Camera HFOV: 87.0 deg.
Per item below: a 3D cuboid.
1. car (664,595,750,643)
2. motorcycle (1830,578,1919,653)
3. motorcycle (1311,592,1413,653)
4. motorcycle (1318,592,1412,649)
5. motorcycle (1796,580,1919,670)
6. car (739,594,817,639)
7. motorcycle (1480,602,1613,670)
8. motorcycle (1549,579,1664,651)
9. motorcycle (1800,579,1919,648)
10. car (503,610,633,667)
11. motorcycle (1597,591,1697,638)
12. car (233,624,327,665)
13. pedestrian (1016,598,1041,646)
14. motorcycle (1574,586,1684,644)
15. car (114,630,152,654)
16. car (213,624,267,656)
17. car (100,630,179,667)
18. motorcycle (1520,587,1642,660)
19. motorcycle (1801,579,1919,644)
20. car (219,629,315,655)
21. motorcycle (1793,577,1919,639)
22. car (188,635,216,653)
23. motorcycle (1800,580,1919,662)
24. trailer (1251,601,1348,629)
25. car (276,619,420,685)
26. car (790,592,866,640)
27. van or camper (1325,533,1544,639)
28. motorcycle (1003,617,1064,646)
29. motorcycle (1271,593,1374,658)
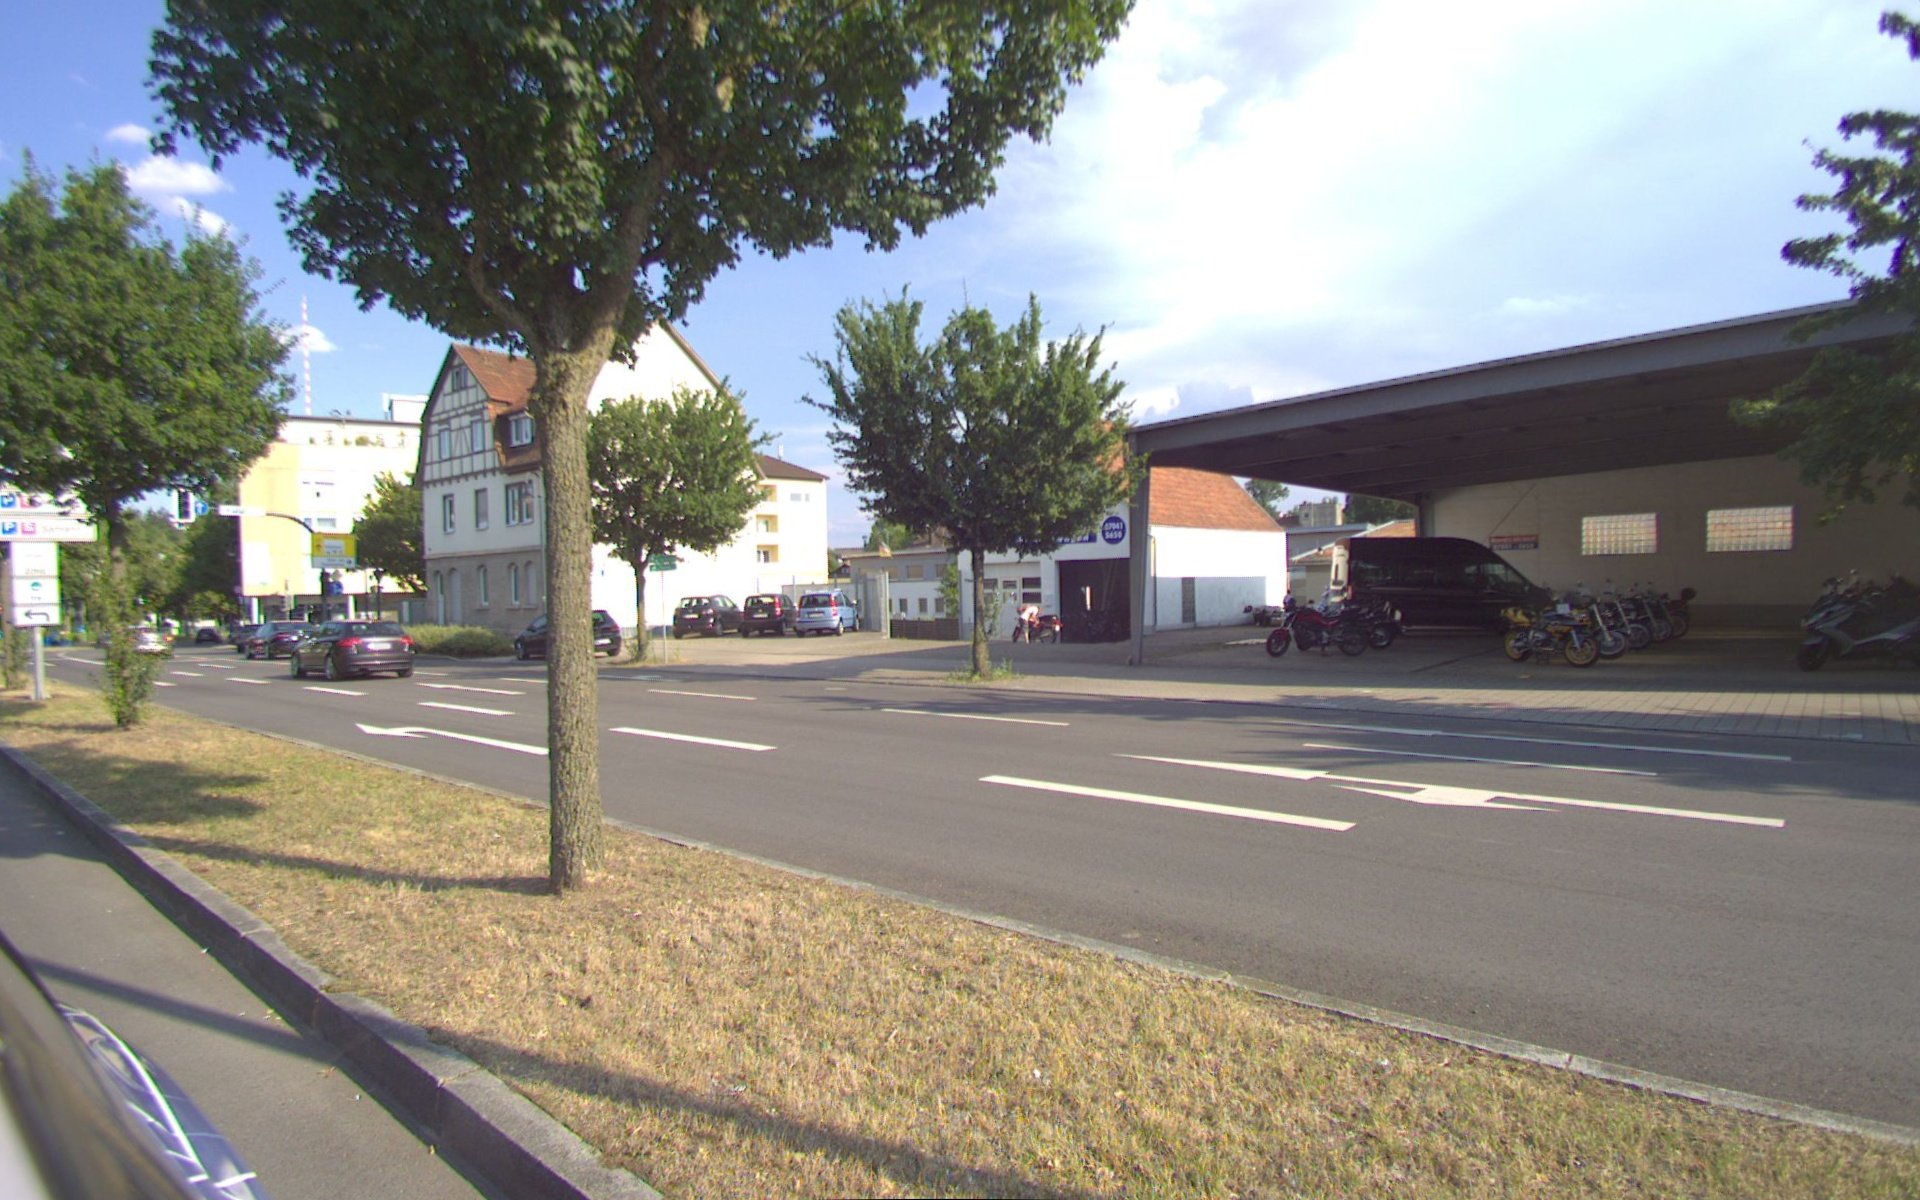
[{"bbox_3d":[-9.352,0.674,37.719,1.747,1.563,3.992,-2,1,7],"label":"car"},{"bbox_3d":[17.104,0.276,18.256,2.068,1.317,0.621,-1,0,12],"label":"motorcycle"},{"bbox_3d":[9.028,0.498,22.770,1.982,1.321,0.649,-1,0,5],"label":"motorcycle"},{"bbox_3d":[9.796,0.490,24.550,1.982,1.321,0.649,-1,0,5],"label":"motorcycle"},{"bbox_3d":[13.892,0.363,15.129,2.093,1.317,0.561,-1,0,12],"label":"motorcycle"},{"bbox_3d":[-6.674,0.591,37.417,1.746,1.564,3.992,-1,0,7],"label":"car"},{"bbox_3d":[10.448,0.607,18.129,0.620,1.132,2.161,-1,0,-19],"label":"motorcycle"},{"bbox_3d":[13.802,0.308,21.694,0.584,1.459,2.161,-1,0,-19],"label":"motorcycle"},{"bbox_3d":[17.974,0.271,19.993,2.068,1.317,0.581,-1,0,12],"label":"motorcycle"},{"bbox_3d":[-11.734,1.111,30.157,4.193,1.454,1.816,-1,3,41],"label":"car"},{"bbox_3d":[17.211,0.358,25.434,0.553,1.131,2.161,-1,0,-19],"label":"motorcycle"},{"bbox_3d":[-25.810,1.640,38.342,4.642,1.432,1.824,-1,0,41],"label":"car"},{"bbox_3d":[2.206,0.710,32.728,0.643,1.535,0.675,-1,0,-10],"label":"pedestrian"},{"bbox_3d":[15.488,0.344,23.494,0.636,1.268,2.161,-1,0,-19],"label":"motorcycle"},{"bbox_3d":[-57.413,2.907,70.280,1.777,1.508,3.965,-1,0,-36],"label":"car"},{"bbox_3d":[-35.611,1.957,49.999,1.666,1.473,4.718,0,-1,-41],"label":"car"},{"bbox_3d":[-34.110,1.975,42.033,4.475,1.359,1.762,-1,0,41],"label":"car"},{"bbox_3d":[12.120,0.440,19.842,0.553,1.340,2.161,-1,0,-19],"label":"motorcycle"},{"bbox_3d":[18.964,0.234,21.170,2.068,1.317,0.561,-1,0,12],"label":"motorcycle"},{"bbox_3d":[-41.772,2.508,61.040,4.594,1.364,1.770,-1,0,-41],"label":"car"},{"bbox_3d":[19.918,0.179,22.525,2.068,1.317,0.561,-1,0,12],"label":"motorcycle"},{"bbox_3d":[-71.307,4.095,95.256,1.782,1.508,4.257,-1,0,-33],"label":"car"},{"bbox_3d":[15.272,0.343,16.736,2.068,1.317,0.561,-1,0,12],"label":"motorcycle"},{"bbox_3d":[12.520,0.533,37.253,2.449,0.831,3.152,-1,2,38],"label":"trailer"},{"bbox_3d":[-14.585,1.176,24.040,4.186,1.397,1.628,-1,0,40],"label":"car"},{"bbox_3d":[-4.598,0.537,35.734,1.746,1.564,3.992,-1,0,7],"label":"car"},{"bbox_3d":[12.821,-0.355,27.653,4.980,2.700,1.995,-1,0,9],"label":"van or camper"},{"bbox_3d":[2.415,1.018,33.361,2.212,0.927,0.500,-1,0,45],"label":"motorcycle"},{"bbox_3d":[7.560,0.543,21.186,1.991,1.321,0.665,-1,0,18],"label":"motorcycle"}]
